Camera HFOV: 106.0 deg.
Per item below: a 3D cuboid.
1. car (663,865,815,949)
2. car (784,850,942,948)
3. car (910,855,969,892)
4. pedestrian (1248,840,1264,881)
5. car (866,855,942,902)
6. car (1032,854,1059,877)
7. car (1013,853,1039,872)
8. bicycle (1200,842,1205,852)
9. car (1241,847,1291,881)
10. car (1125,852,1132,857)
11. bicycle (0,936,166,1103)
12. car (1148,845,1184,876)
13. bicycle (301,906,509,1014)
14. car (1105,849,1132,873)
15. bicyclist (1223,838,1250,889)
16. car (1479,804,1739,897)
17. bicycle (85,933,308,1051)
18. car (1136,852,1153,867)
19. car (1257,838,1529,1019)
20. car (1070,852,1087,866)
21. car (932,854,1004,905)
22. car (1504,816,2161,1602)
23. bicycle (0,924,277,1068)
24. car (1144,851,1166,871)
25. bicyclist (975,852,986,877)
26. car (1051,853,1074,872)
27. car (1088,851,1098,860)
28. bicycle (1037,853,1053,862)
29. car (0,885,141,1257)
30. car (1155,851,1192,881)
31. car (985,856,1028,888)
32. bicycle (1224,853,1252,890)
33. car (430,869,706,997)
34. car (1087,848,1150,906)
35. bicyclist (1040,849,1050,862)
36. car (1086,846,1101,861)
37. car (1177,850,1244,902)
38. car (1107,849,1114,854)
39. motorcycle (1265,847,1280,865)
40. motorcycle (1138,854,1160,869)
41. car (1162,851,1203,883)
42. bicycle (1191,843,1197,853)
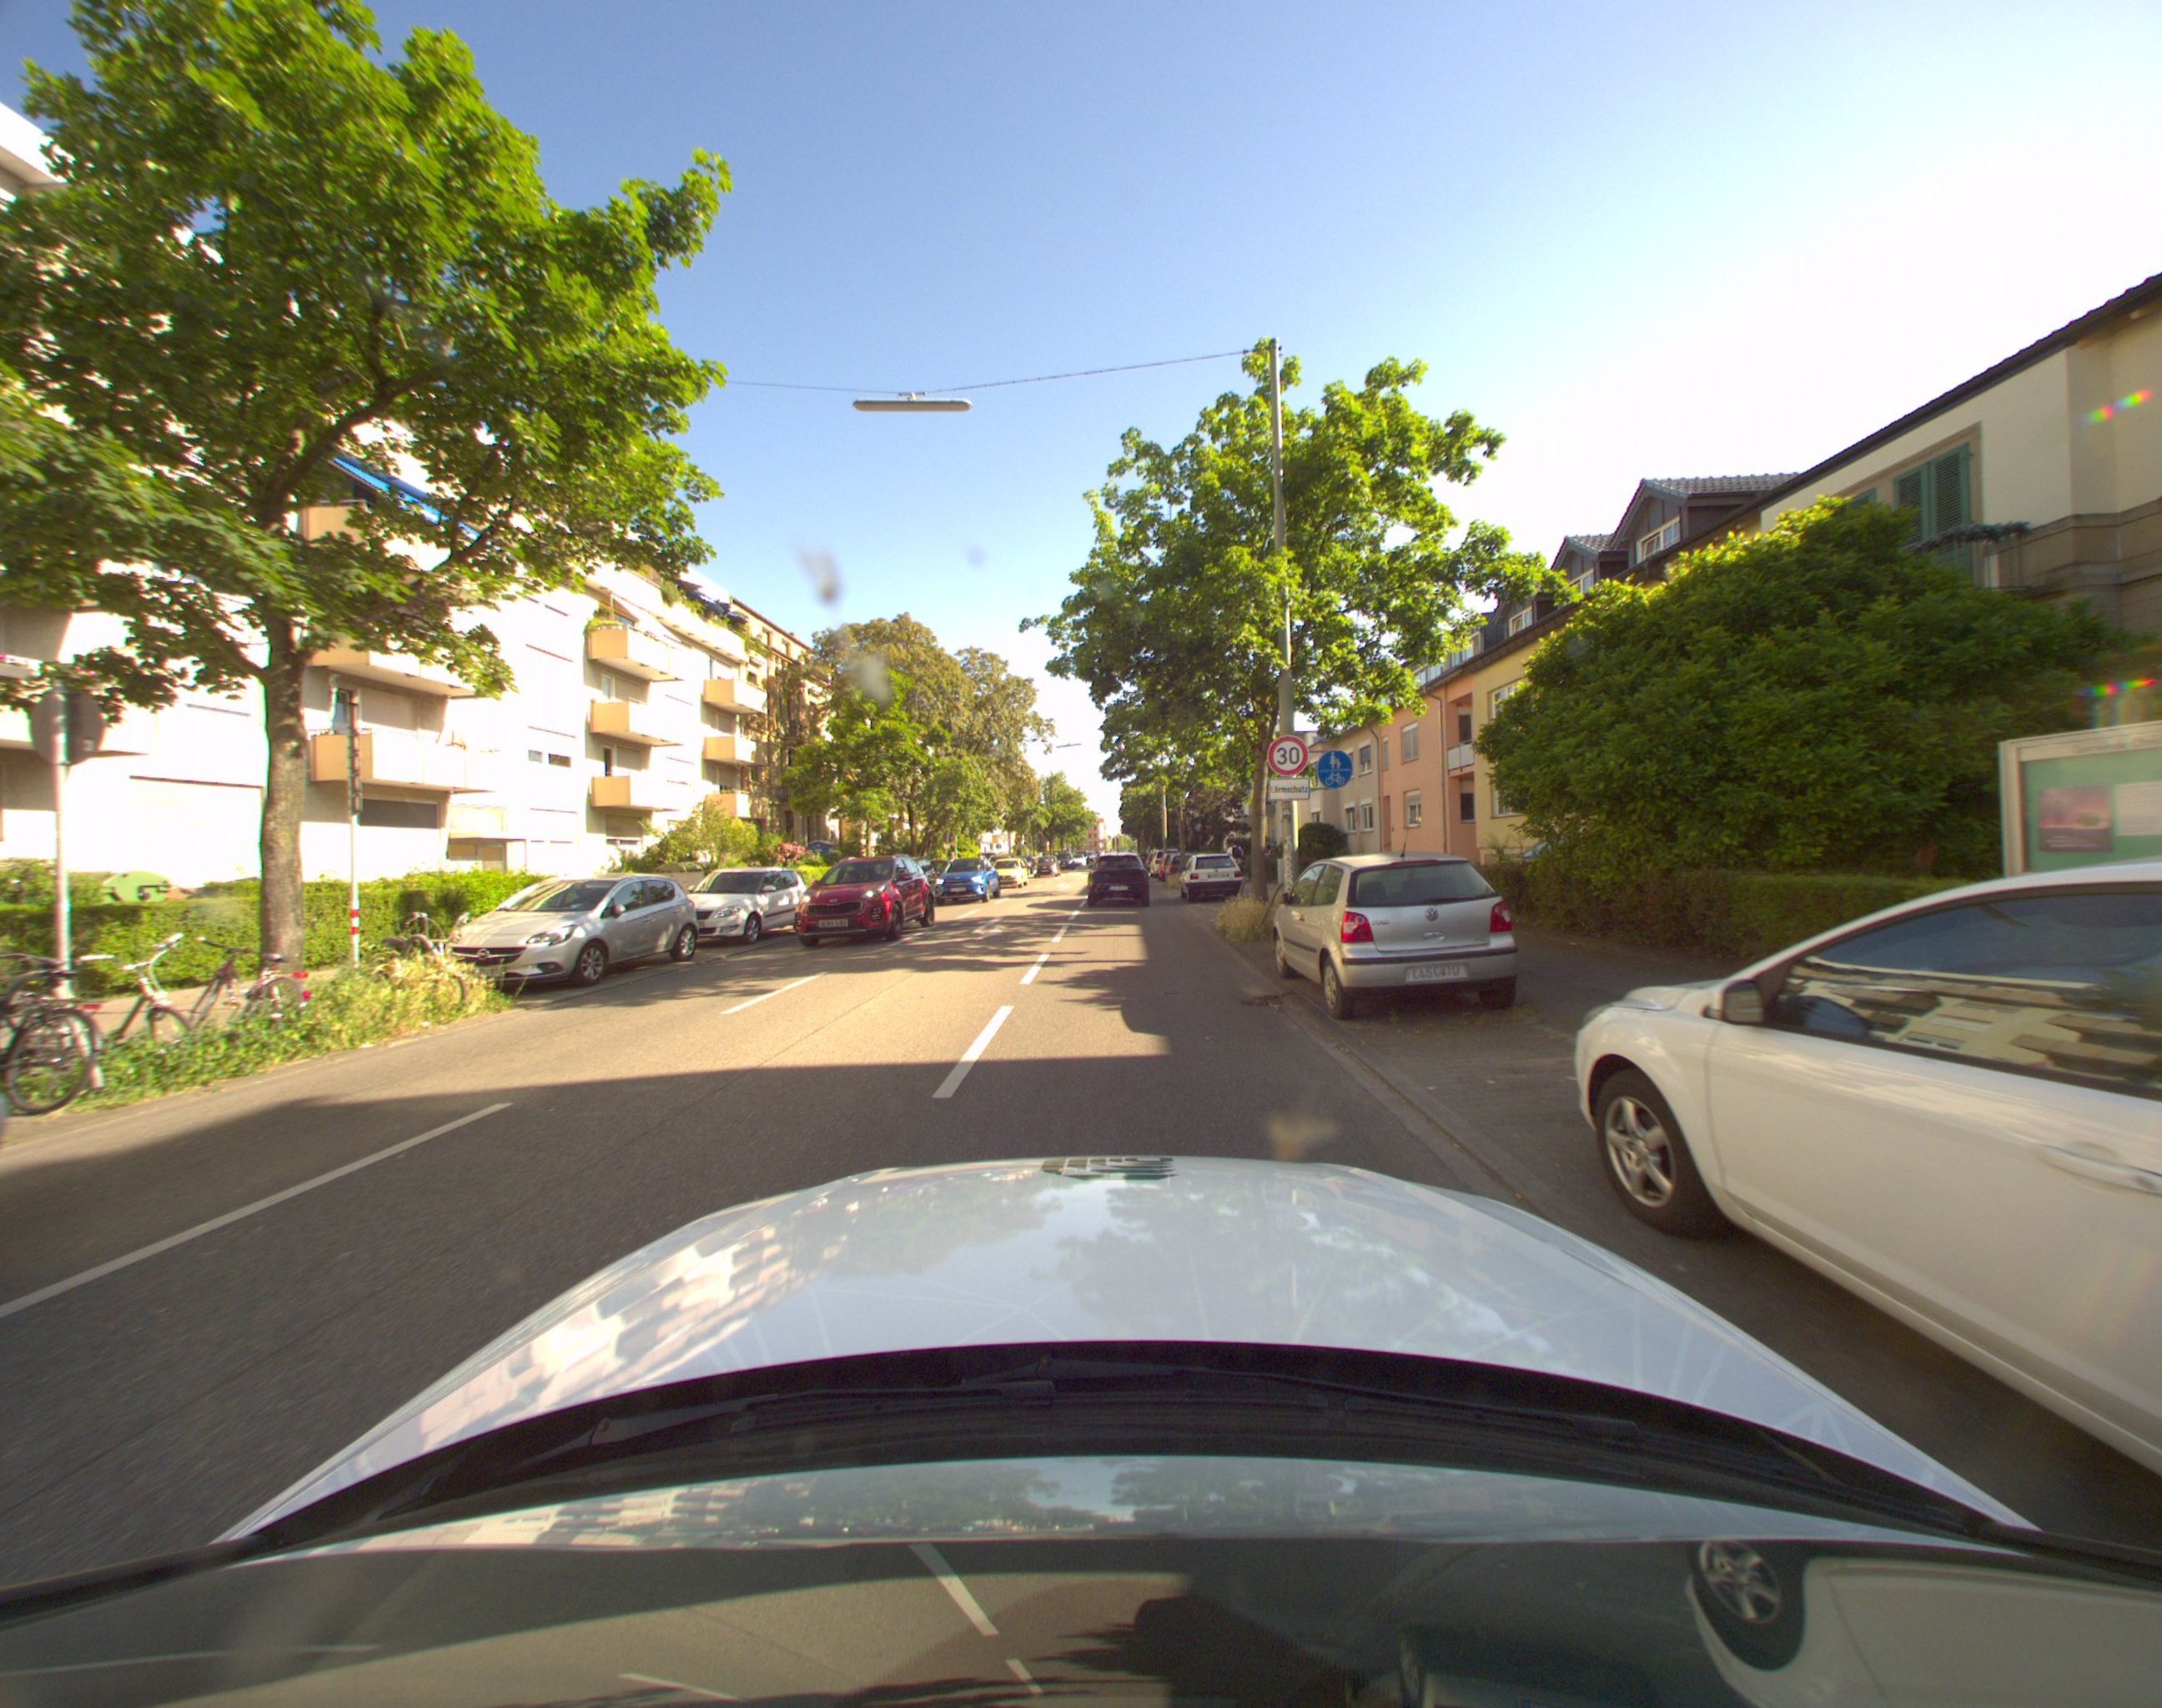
[{"bbox_3d":[-6.969,1.010,17.013,1.395,1.489,3.689,-1,0,4],"label":"car"},{"bbox_3d":[-4.255,0.789,16.638,1.714,1.617,4.304,-4,0,3],"label":"car"},{"bbox_3d":[-6.080,0.796,35.374,1.594,1.477,3.936,-1,0,4],"label":"car"},{"bbox_3d":[7.241,0.264,33.706,0.536,1.677,0.494,-3,0,2],"label":"pedestrian"},{"bbox_3d":[-6.420,0.836,29.957,1.663,1.605,4.397,-1,0,2],"label":"car"},{"bbox_3d":[-2.453,0.776,57.526,1.575,1.451,3.746,-3,0,2],"label":"car"},{"bbox_3d":[-4.584,0.695,68.610,1.670,1.555,4.012,-1,0,4],"label":"car"},{"bbox_3d":[17.239,-1.019,115.567,0.589,1.287,1.691,-4,0,3],"label":"bicycle"},{"bbox_3d":[8.446,0.424,37.424,1.526,1.356,3.720,-4,0,2],"label":"car"},{"bbox_3d":[15.045,0.060,256.673,1.984,1.519,4.005,1,0,4],"label":"car"},{"bbox_3d":[-7.950,1.180,5.982,1.819,1.087,0.560,1,-1,1],"label":"bicycle"},{"bbox_3d":[5.069,0.366,48.944,1.762,1.659,4.342,-3,0,1],"label":"car"},{"bbox_3d":[-7.431,1.153,8.998,1.819,1.087,0.560,1,-1,1],"label":"bicycle"},{"bbox_3d":[2.671,0.491,57.977,1.822,1.578,3.843,-2,0,3],"label":"car"},{"bbox_3d":[5.611,0.338,29.393,0.721,1.793,1.016,-3,0,2],"label":"bicyclist"},{"bbox_3d":[10.532,-0.065,16.490,3.971,1.441,1.832,-5,0,2],"label":"car"},{"bbox_3d":[-8.019,1.235,7.410,1.531,0.965,0.448,1,-1,1],"label":"bicycle"},{"bbox_3d":[6.271,0.500,80.806,1.579,1.396,4.458,-3,0,3],"label":"car"},{"bbox_3d":[3.050,0.638,8.819,1.560,1.457,3.868,-3,0,2],"label":"car"},{"bbox_3d":[-0.297,0.578,94.514,1.726,1.412,4.195,-4,0,3],"label":"car"},{"bbox_3d":[-3.857,0.829,28.387,1.649,1.517,4.079,-4,0,3],"label":"car"},{"bbox_3d":[2.922,0.649,1.980,1.732,1.482,4.199,-3,0,3],"label":"car"},{"bbox_3d":[-7.902,1.168,6.829,1.819,1.087,0.493,1,-1,1],"label":"bicycle"},{"bbox_3d":[5.812,0.547,64.480,1.613,1.499,3.653,-2,0,4],"label":"car"},{"bbox_3d":[-7.314,0.764,59.359,0.606,1.754,0.692,-2,0,2],"label":"bicyclist"},{"bbox_3d":[-1.731,0.795,77.087,1.829,1.613,4.403,-4,0,2],"label":"car"},{"bbox_3d":[2.415,0.239,161.676,1.799,1.648,4.675,-4,0,2],"label":"car"},{"bbox_3d":[-4.978,0.499,112.888,2.202,1.193,0.444,-2,0,-35],"label":"bicycle"},{"bbox_3d":[-5.357,0.931,1.357,1.806,1.464,4.782,-4,0,3],"label":"car"},{"bbox_3d":[4.765,0.584,42.298,1.526,1.449,3.719,-2,0,1],"label":"car"},{"bbox_3d":[-3.605,0.858,39.970,1.629,1.403,3.737,-3,0,1],"label":"car"},{"bbox_3d":[5.653,0.613,29.445,0.695,1.247,1.823,-3,0,3],"label":"bicycle"},{"bbox_3d":[-7.252,1.012,12.036,1.498,1.475,3.897,-1,0,2],"label":"car"},{"bbox_3d":[1.109,0.639,24.299,1.738,1.573,3.560,0,0,2],"label":"car"},{"bbox_3d":[-4.966,0.182,112.885,1.059,1.824,0.653,-2,0,-35],"label":"bicyclist"},{"bbox_3d":[1.793,-0.068,119.066,2.009,1.952,5.180,-3,0,2],"label":"car"},{"bbox_3d":[3.949,0.627,25.339,1.642,1.403,3.974,-3,0,4],"label":"car"},{"bbox_3d":[8.542,-0.800,234.981,1.766,1.452,3.885,-2,0,0],"label":"car"},{"bbox_3d":[15.135,0.179,64.426,0.633,1.375,2.427,-2,0,3],"label":"motorcycle"},{"bbox_3d":[5.752,0.646,69.300,0.701,1.271,2.412,-3,0,-25],"label":"motorcycle"},{"bbox_3d":[4.631,0.582,37.571,1.525,1.356,3.720,-2,0,2],"label":"car"},{"bbox_3d":[16.054,-0.834,116.126,0.620,1.287,1.844,-4,0,3],"label":"bicycle"}]
